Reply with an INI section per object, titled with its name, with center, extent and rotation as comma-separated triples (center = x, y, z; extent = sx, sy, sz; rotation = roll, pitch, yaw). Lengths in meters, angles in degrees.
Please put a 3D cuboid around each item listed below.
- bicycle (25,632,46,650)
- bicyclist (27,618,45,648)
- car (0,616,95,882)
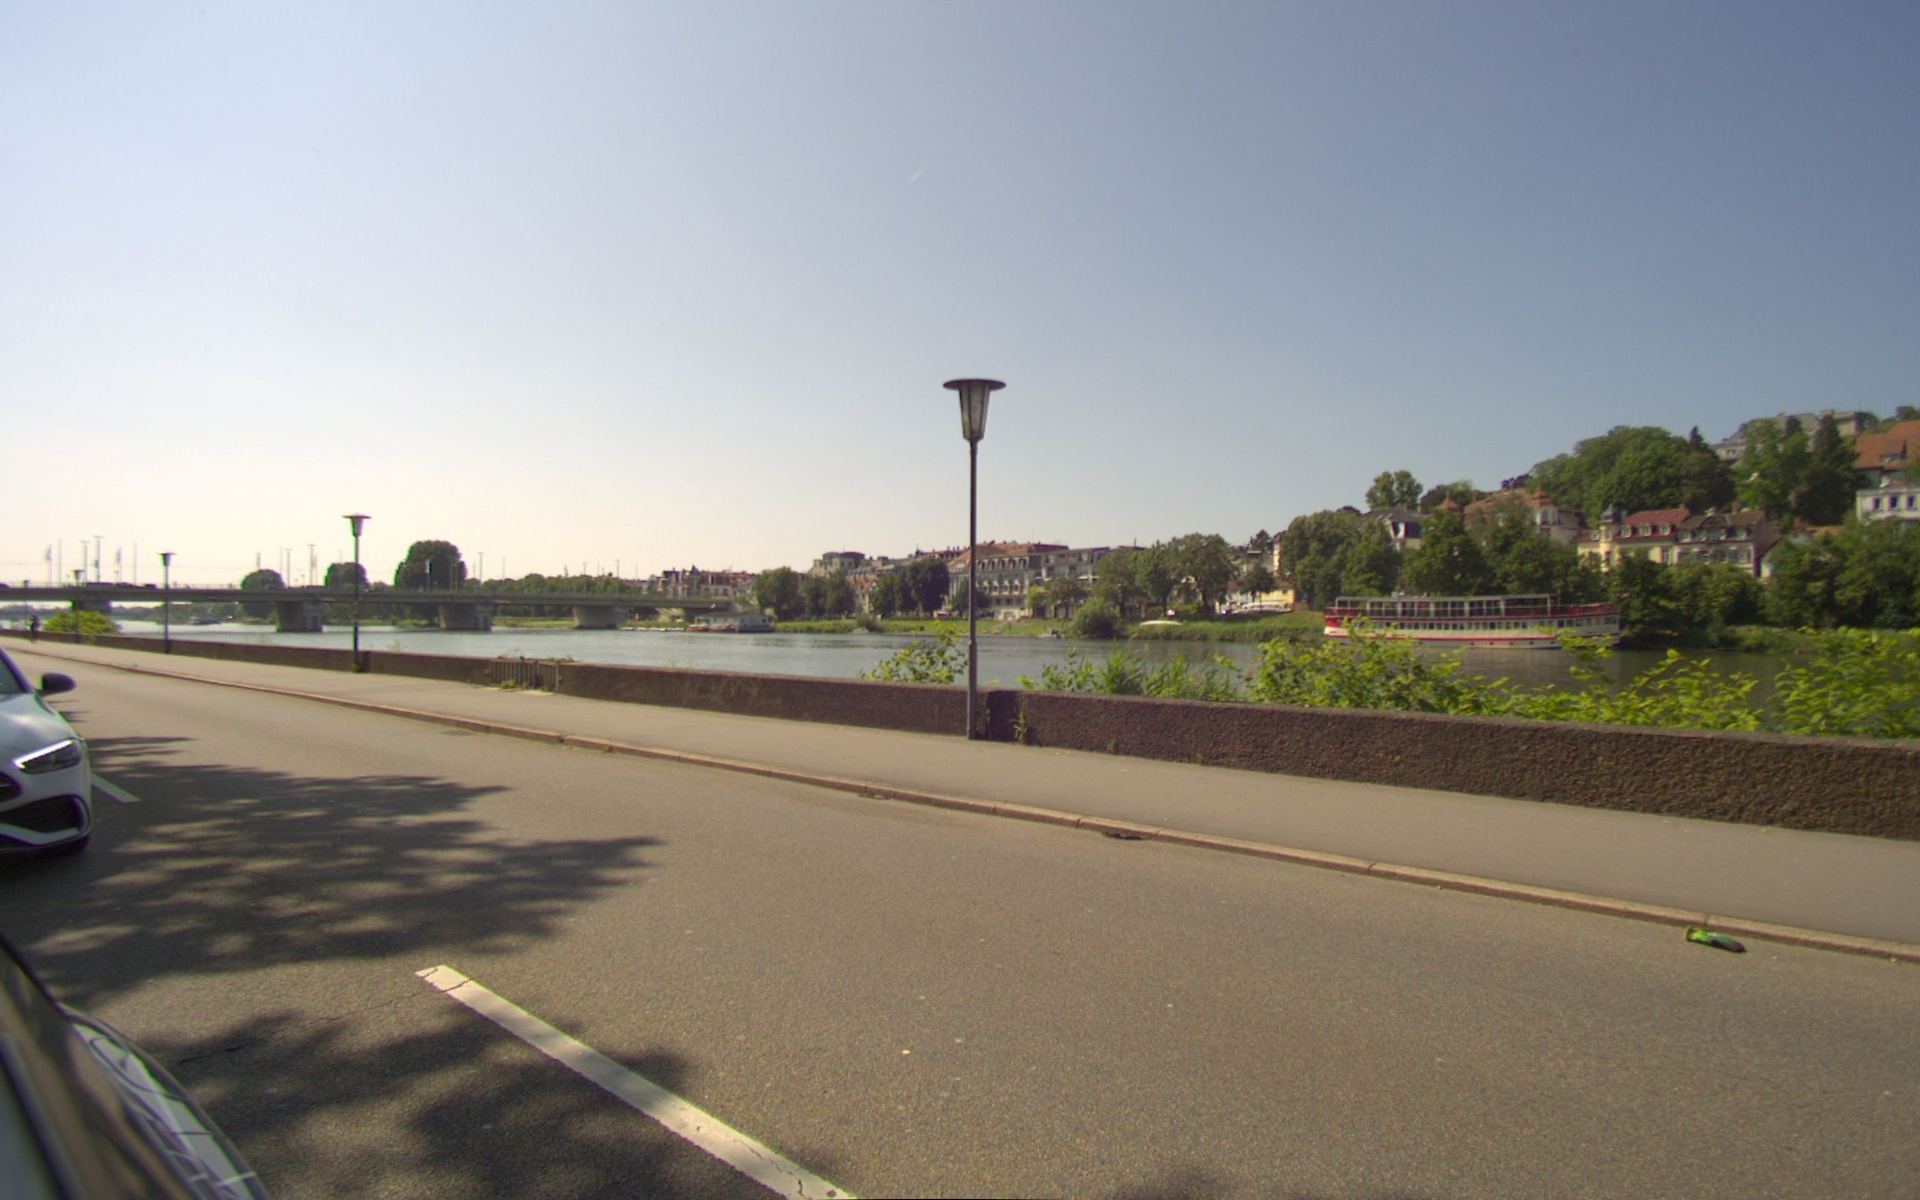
[bicycle]
center = -52.750, 2.339, 57.748
extent = 1.984, 1.019, 0.626
rotation = -1, -2, 41
[bicyclist]
center = -52.765, 1.858, 57.780
extent = 0.870, 1.686, 0.631
rotation = -1, -2, 41
[car]
center = -7.230, 0.858, 6.613
extent = 4.550, 1.430, 1.807
rotation = -2, -1, 42
